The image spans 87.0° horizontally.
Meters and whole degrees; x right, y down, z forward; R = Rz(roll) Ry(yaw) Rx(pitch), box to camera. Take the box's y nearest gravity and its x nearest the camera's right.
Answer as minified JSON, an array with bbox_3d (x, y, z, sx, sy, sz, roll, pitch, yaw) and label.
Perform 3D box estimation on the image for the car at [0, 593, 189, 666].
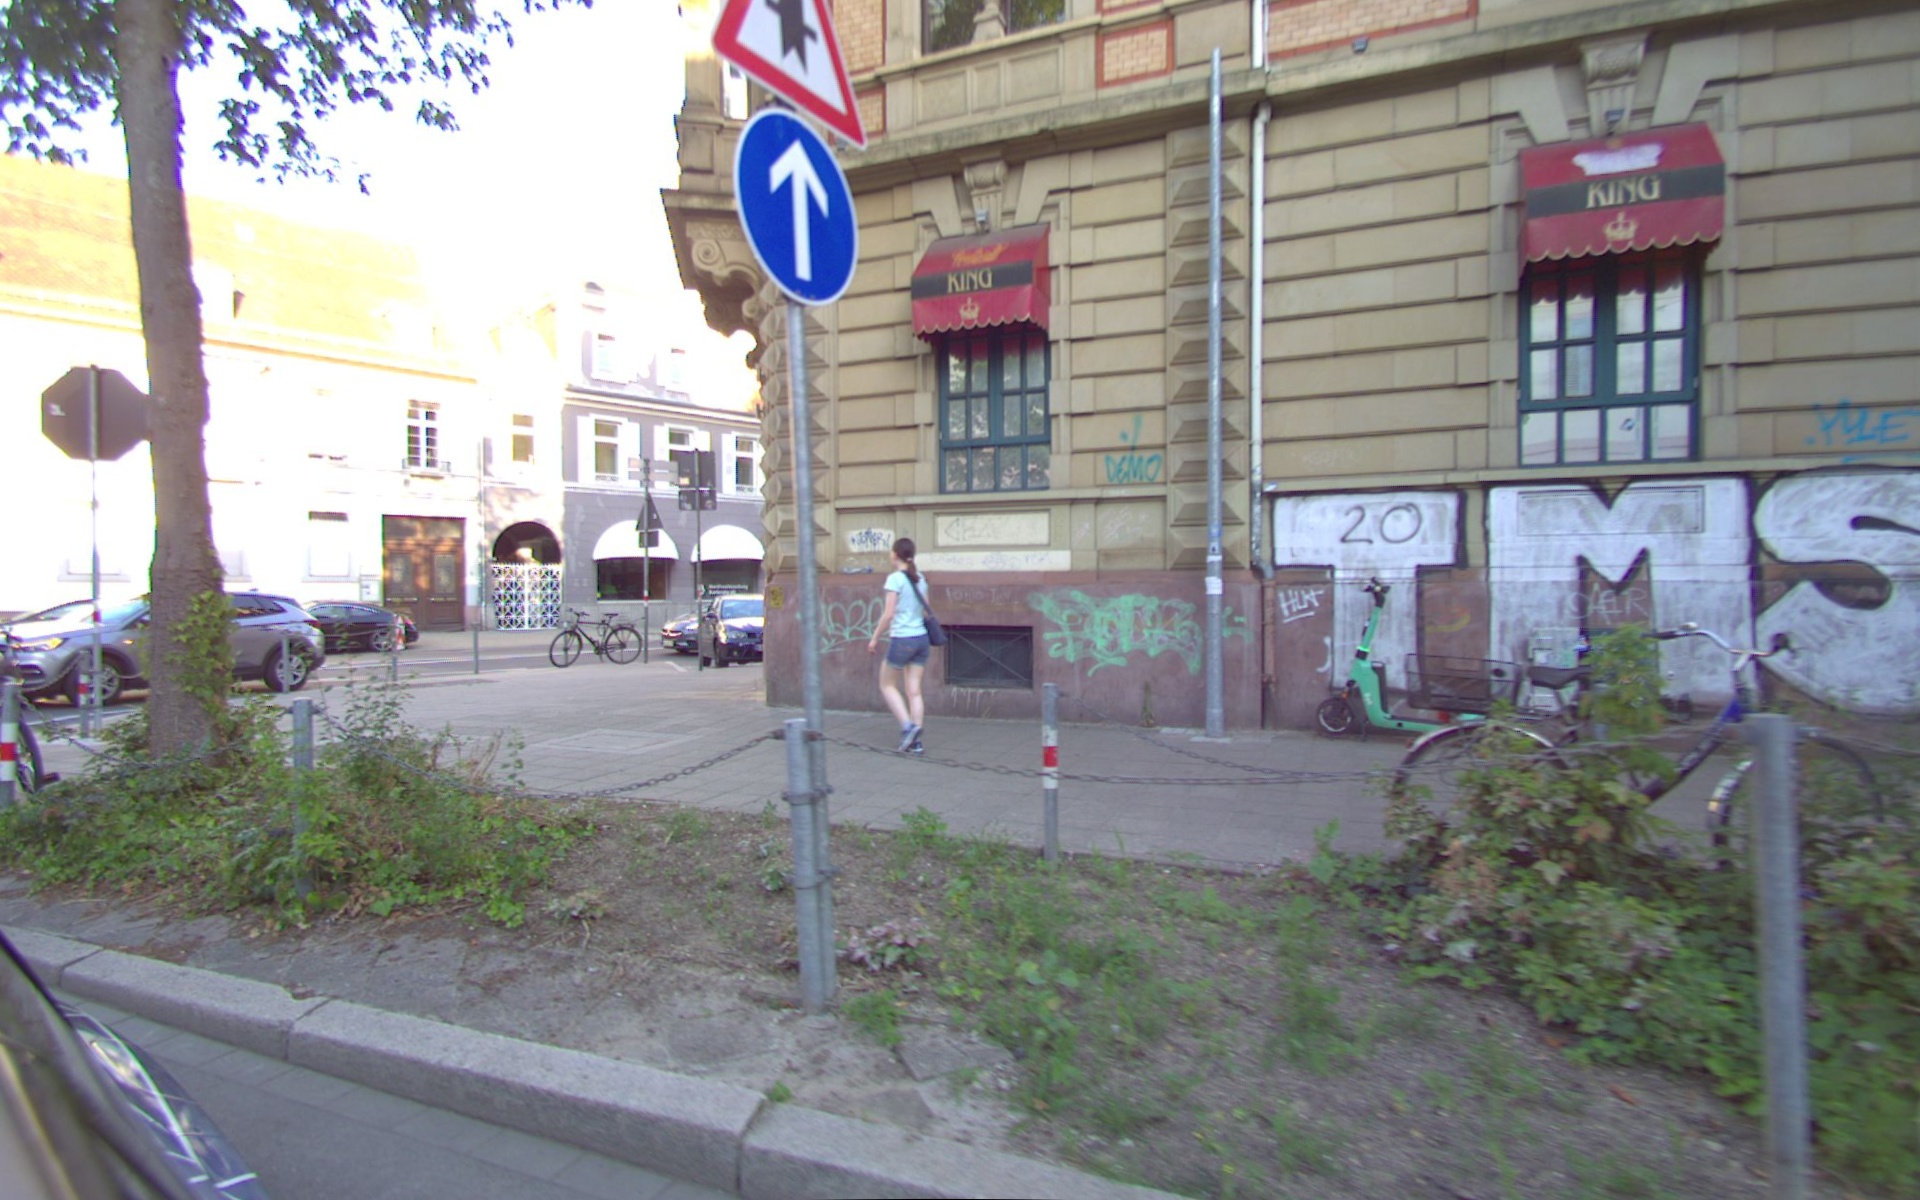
[{"bbox_3d":[-20.262,0.628,23.005,4.206,1.541,1.835,0,0,-43],"label":"car"}]

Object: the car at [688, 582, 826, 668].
[{"bbox_3d":[-4.044,0.525,19.542,1.857,1.441,4.373,-1,-3,-21],"label":"car"}]

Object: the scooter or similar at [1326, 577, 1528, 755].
[{"bbox_3d":[3.359,0.467,7.343,1.265,1.207,0.382,-2,2,24],"label":"scooter or similar"}]

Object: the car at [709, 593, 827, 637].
[{"bbox_3d":[-6.874,0.498,36.431,3.758,1.502,1.836,0,0,-42],"label":"car"}]

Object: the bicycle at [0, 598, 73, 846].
[{"bbox_3d":[-5.773,0.650,5.891,0.795,1.234,2.420,-5,3,-42],"label":"bicycle"}]

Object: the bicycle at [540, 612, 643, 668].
[{"bbox_3d":[-6.878,0.733,18.893,1.733,0.979,0.540,-1,-2,-27],"label":"bicycle"}]

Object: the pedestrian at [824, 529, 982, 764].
[{"bbox_3d":[-0.418,0.305,7.341,0.644,1.576,0.907,-4,2,-44],"label":"pedestrian"}]

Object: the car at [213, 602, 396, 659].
[{"bbox_3d":[-16.954,0.725,26.239,3.758,1.335,1.836,0,0,-42],"label":"car"}]

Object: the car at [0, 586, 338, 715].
[{"bbox_3d":[-11.799,0.610,14.819,1.934,1.582,4.329,1,0,21],"label":"car"}]

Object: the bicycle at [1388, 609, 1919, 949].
[{"bbox_3d":[2.623,0.609,3.845,1.785,1.116,0.497,0,3,18],"label":"bicycle"}]
